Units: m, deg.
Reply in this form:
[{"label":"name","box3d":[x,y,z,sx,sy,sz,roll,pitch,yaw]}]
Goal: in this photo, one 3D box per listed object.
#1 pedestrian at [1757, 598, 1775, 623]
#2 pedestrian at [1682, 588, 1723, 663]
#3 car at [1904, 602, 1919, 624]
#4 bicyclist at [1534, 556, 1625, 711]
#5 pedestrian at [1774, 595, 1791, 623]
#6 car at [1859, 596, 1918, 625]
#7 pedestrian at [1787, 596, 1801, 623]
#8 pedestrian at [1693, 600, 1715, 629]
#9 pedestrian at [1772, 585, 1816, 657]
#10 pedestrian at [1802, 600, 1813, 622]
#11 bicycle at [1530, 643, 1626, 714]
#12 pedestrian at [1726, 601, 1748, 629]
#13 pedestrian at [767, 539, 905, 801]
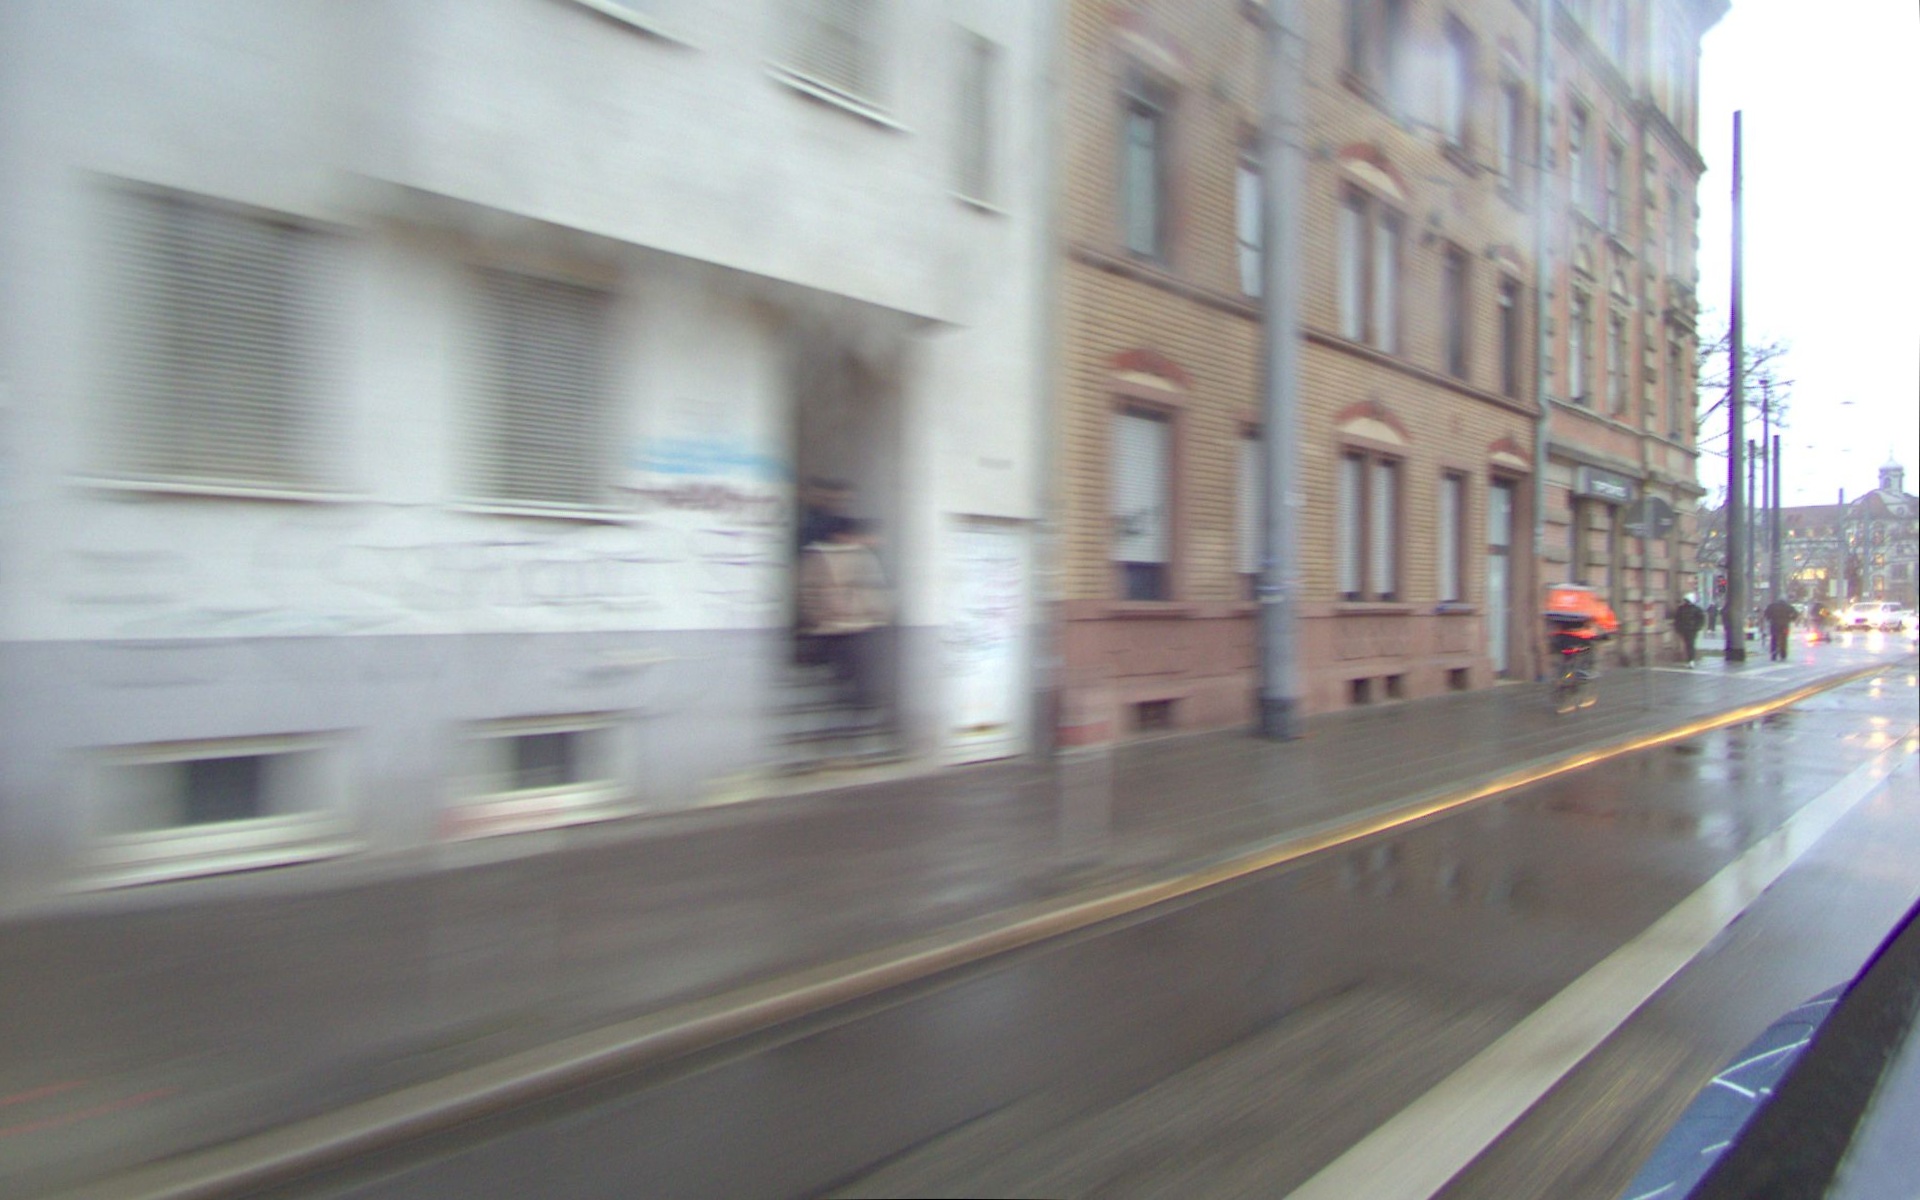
[{"label":"pedestrian","box3d":[54.210,0.717,68.105,0.699,1.640,0.745,0,0,16]},{"label":"pedestrian","box3d":[15.723,0.525,21.429,0.631,1.568,0.700,0,-1,42]},{"label":"car","box3d":[68.979,0.889,72.400,1.820,1.527,3.750,0,0,39]},{"label":"bicyclist","box3d":[7.984,0.405,13.030,1.093,1.903,0.745,0,0,-44]},{"label":"pedestrian","box3d":[54.795,0.578,67.443,0.640,1.845,0.635,0,-1,16]},{"label":"car","box3d":[62.517,0.691,68.114,4.779,1.861,1.999,0,0,-36]},{"label":"pedestrian","box3d":[54.879,0.619,66.595,0.503,1.784,0.635,0,-1,15]},{"label":"pedestrian","box3d":[43.913,0.877,59.771,0.734,1.698,0.820,0,-1,-31]},{"label":"pedestrian","box3d":[21.890,0.541,26.563,0.698,1.848,0.753,0,-1,-38]},{"label":"pedestrian","box3d":[69.766,0.885,83.274,0.634,1.784,0.504,0,-1,37]},{"label":"bicycle","box3d":[7.986,0.983,13.046,1.830,0.770,0.608,0,1,-43]},{"label":"pedestrian","box3d":[46.884,0.892,61.074,0.808,1.640,0.745,0,0,16]},{"label":"pedestrian","box3d":[-0.901,0.466,7.333,0.661,1.766,0.777,1,0,-41]}]
